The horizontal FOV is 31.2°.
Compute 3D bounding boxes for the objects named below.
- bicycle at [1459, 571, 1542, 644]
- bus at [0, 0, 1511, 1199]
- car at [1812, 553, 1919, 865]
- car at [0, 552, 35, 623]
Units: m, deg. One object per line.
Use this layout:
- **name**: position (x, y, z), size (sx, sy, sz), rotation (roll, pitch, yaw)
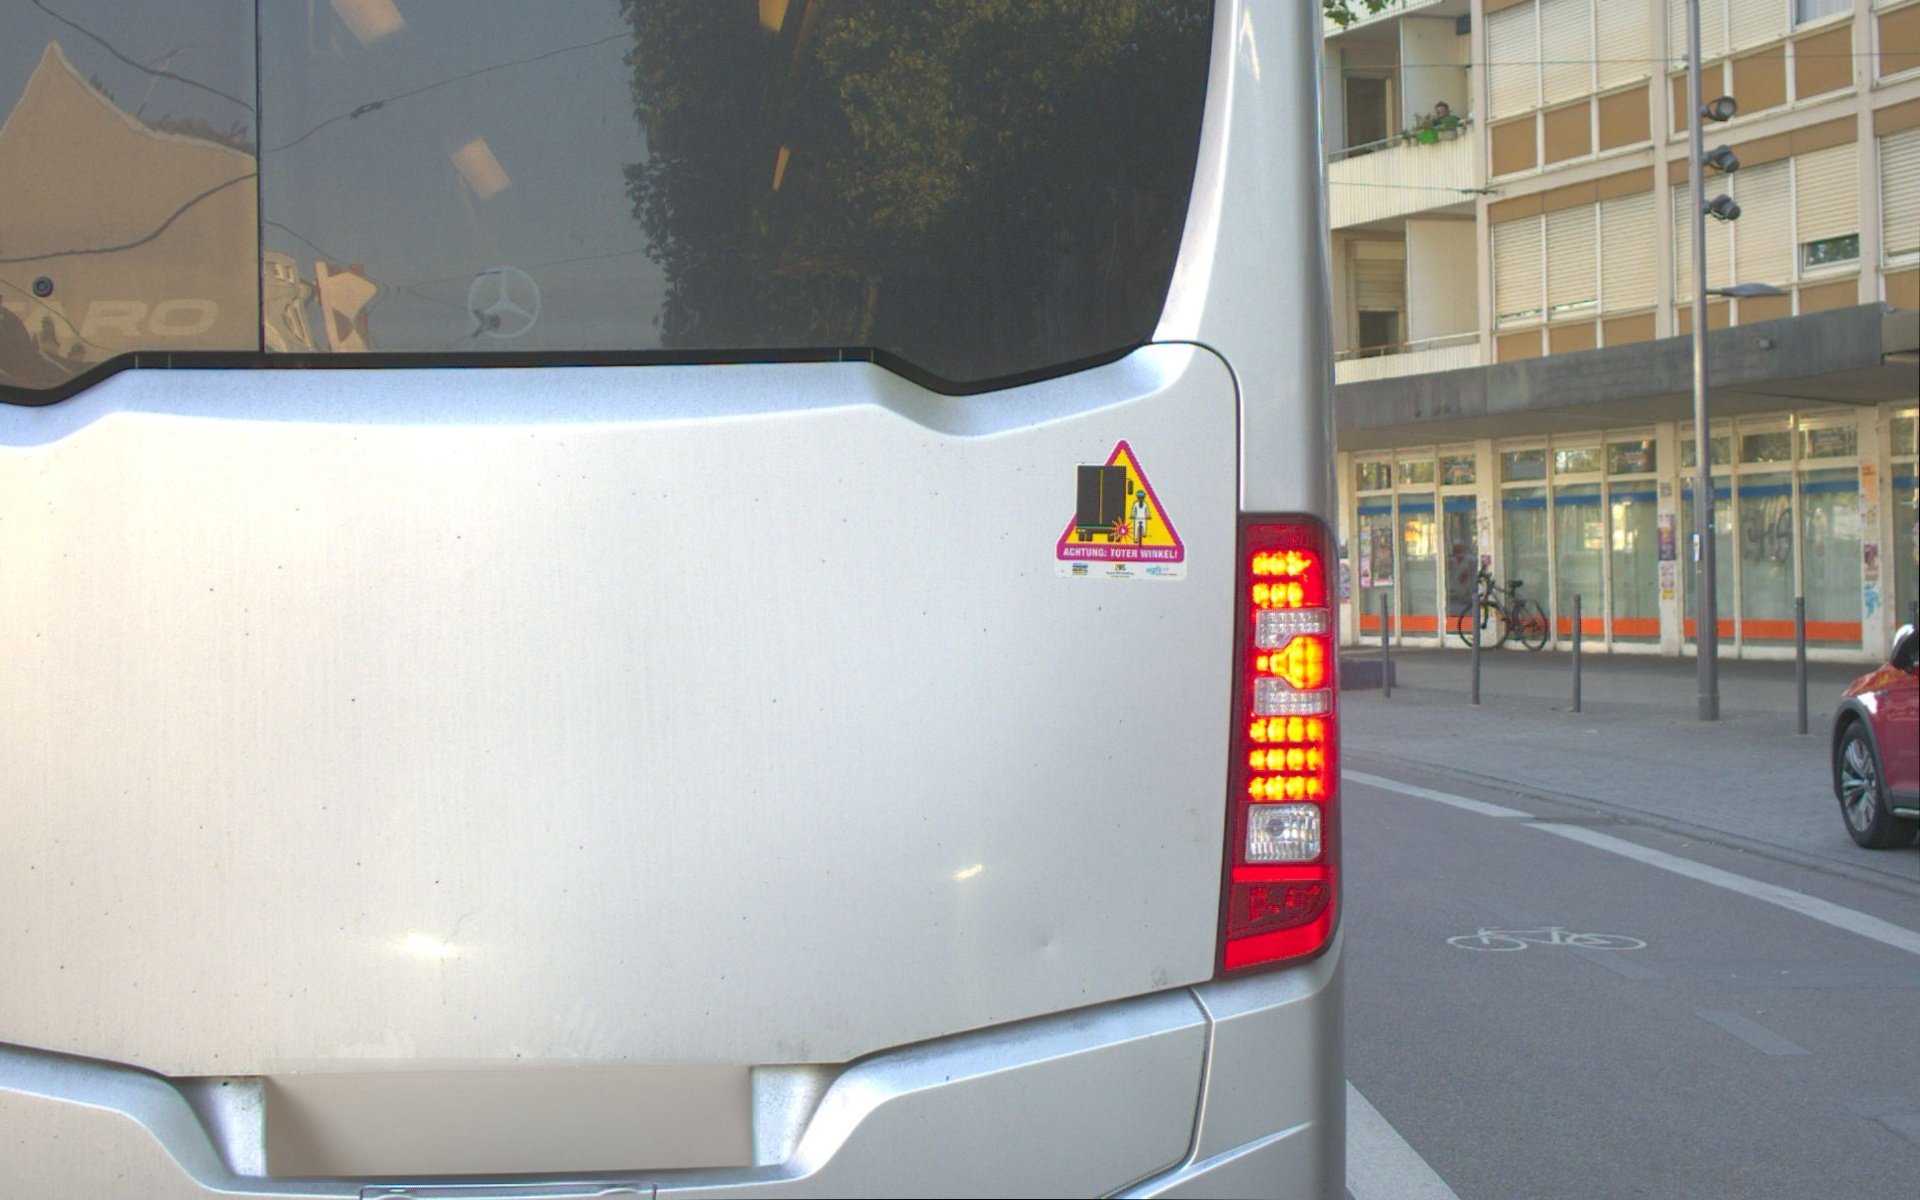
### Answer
- **bicycle**: position (7.165, 0.093, 45.598), size (0.412, 0.941, 1.441), rotation (-1, 1, -20)
- **bus**: position (-0.747, -0.140, 9.788), size (2.630, 3.017, 9.998), rotation (0, 1, -2)
- **car**: position (5.513, 0.508, 15.862), size (1.769, 1.477, 4.304), rotation (-2, 1, -4)
- **car**: position (-25.469, -0.337, 87.871), size (1.994, 1.785, 3.998), rotation (1, 0, -41)
